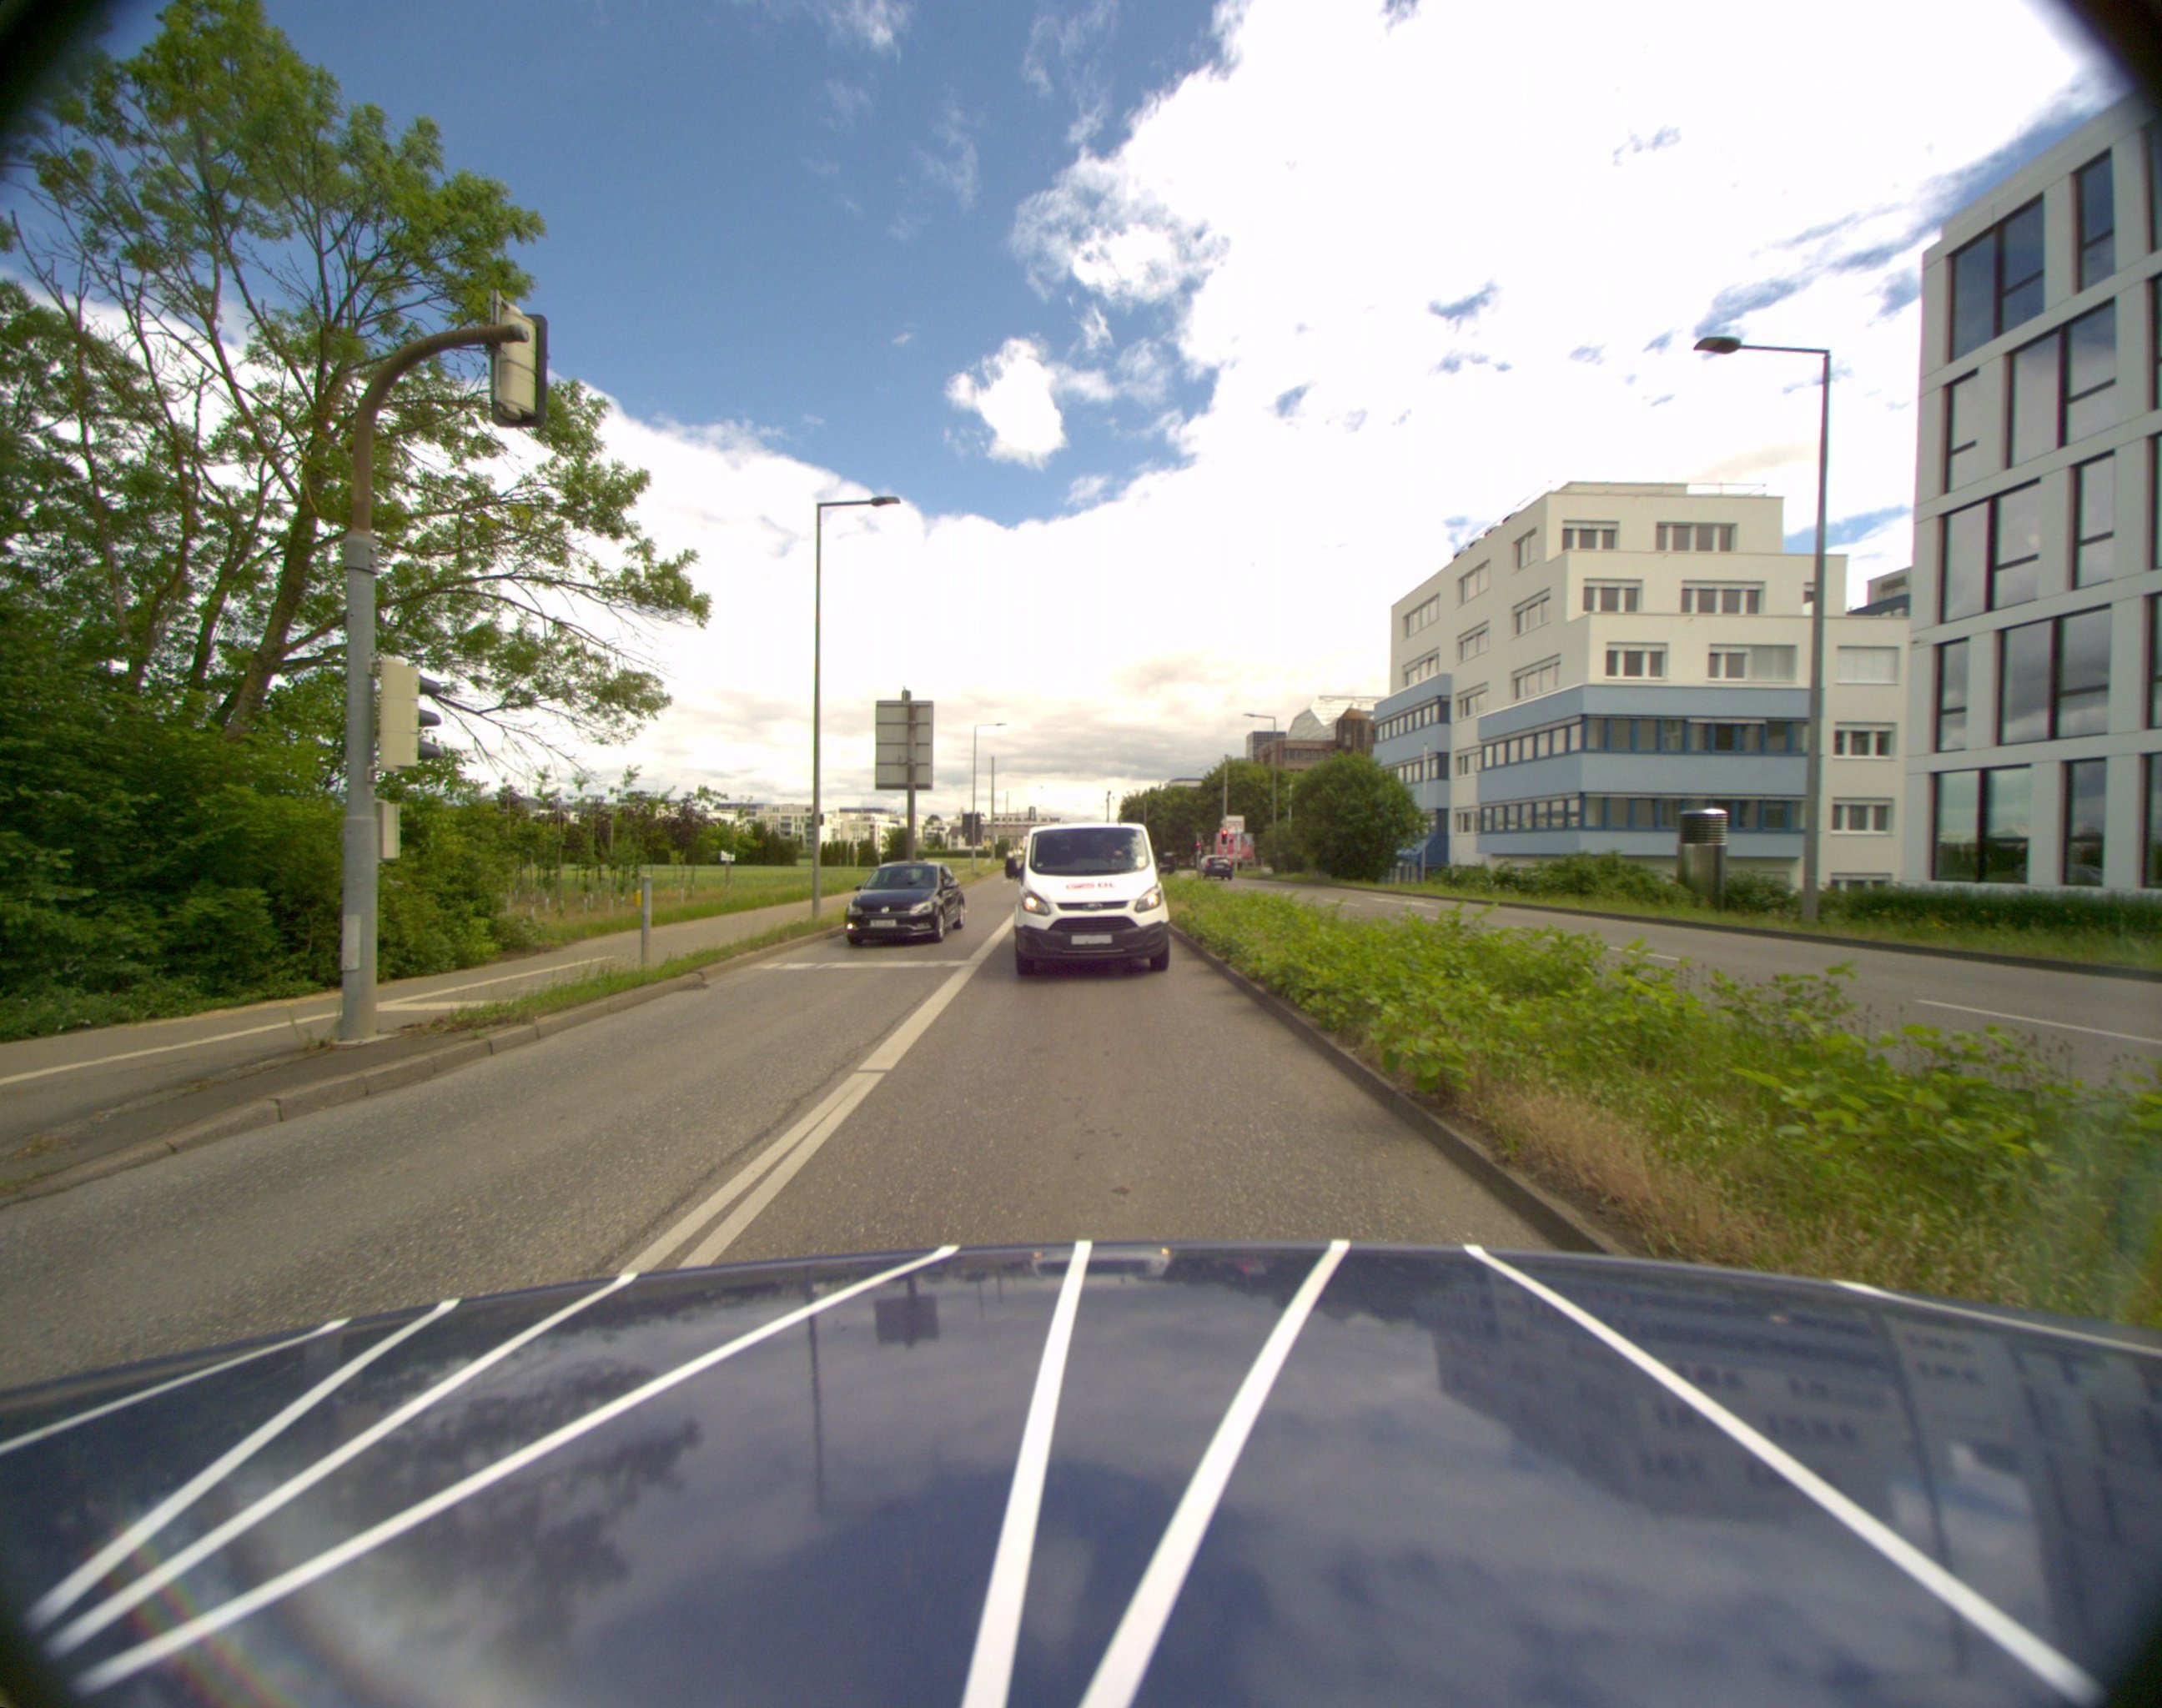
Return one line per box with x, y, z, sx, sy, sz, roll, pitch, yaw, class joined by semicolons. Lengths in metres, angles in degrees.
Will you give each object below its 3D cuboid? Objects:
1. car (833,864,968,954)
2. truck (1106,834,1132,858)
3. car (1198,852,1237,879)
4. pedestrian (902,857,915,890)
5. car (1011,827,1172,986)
-3.296;0.948;14.585;1.682;1.410;3.739;0;1;0;car
5.783;-1.281;116.574;3.176;3.498;9.523;1;1;-1;truck
8.078;0.679;45.284;1.758;1.438;3.892;-2;1;2;car
-8.861;1.001;39.106;0.492;1.693;0.625;-2;1;-2;pedestrian
0.111;0.645;11.987;1.968;1.938;5.054;-1;0;-1;car
